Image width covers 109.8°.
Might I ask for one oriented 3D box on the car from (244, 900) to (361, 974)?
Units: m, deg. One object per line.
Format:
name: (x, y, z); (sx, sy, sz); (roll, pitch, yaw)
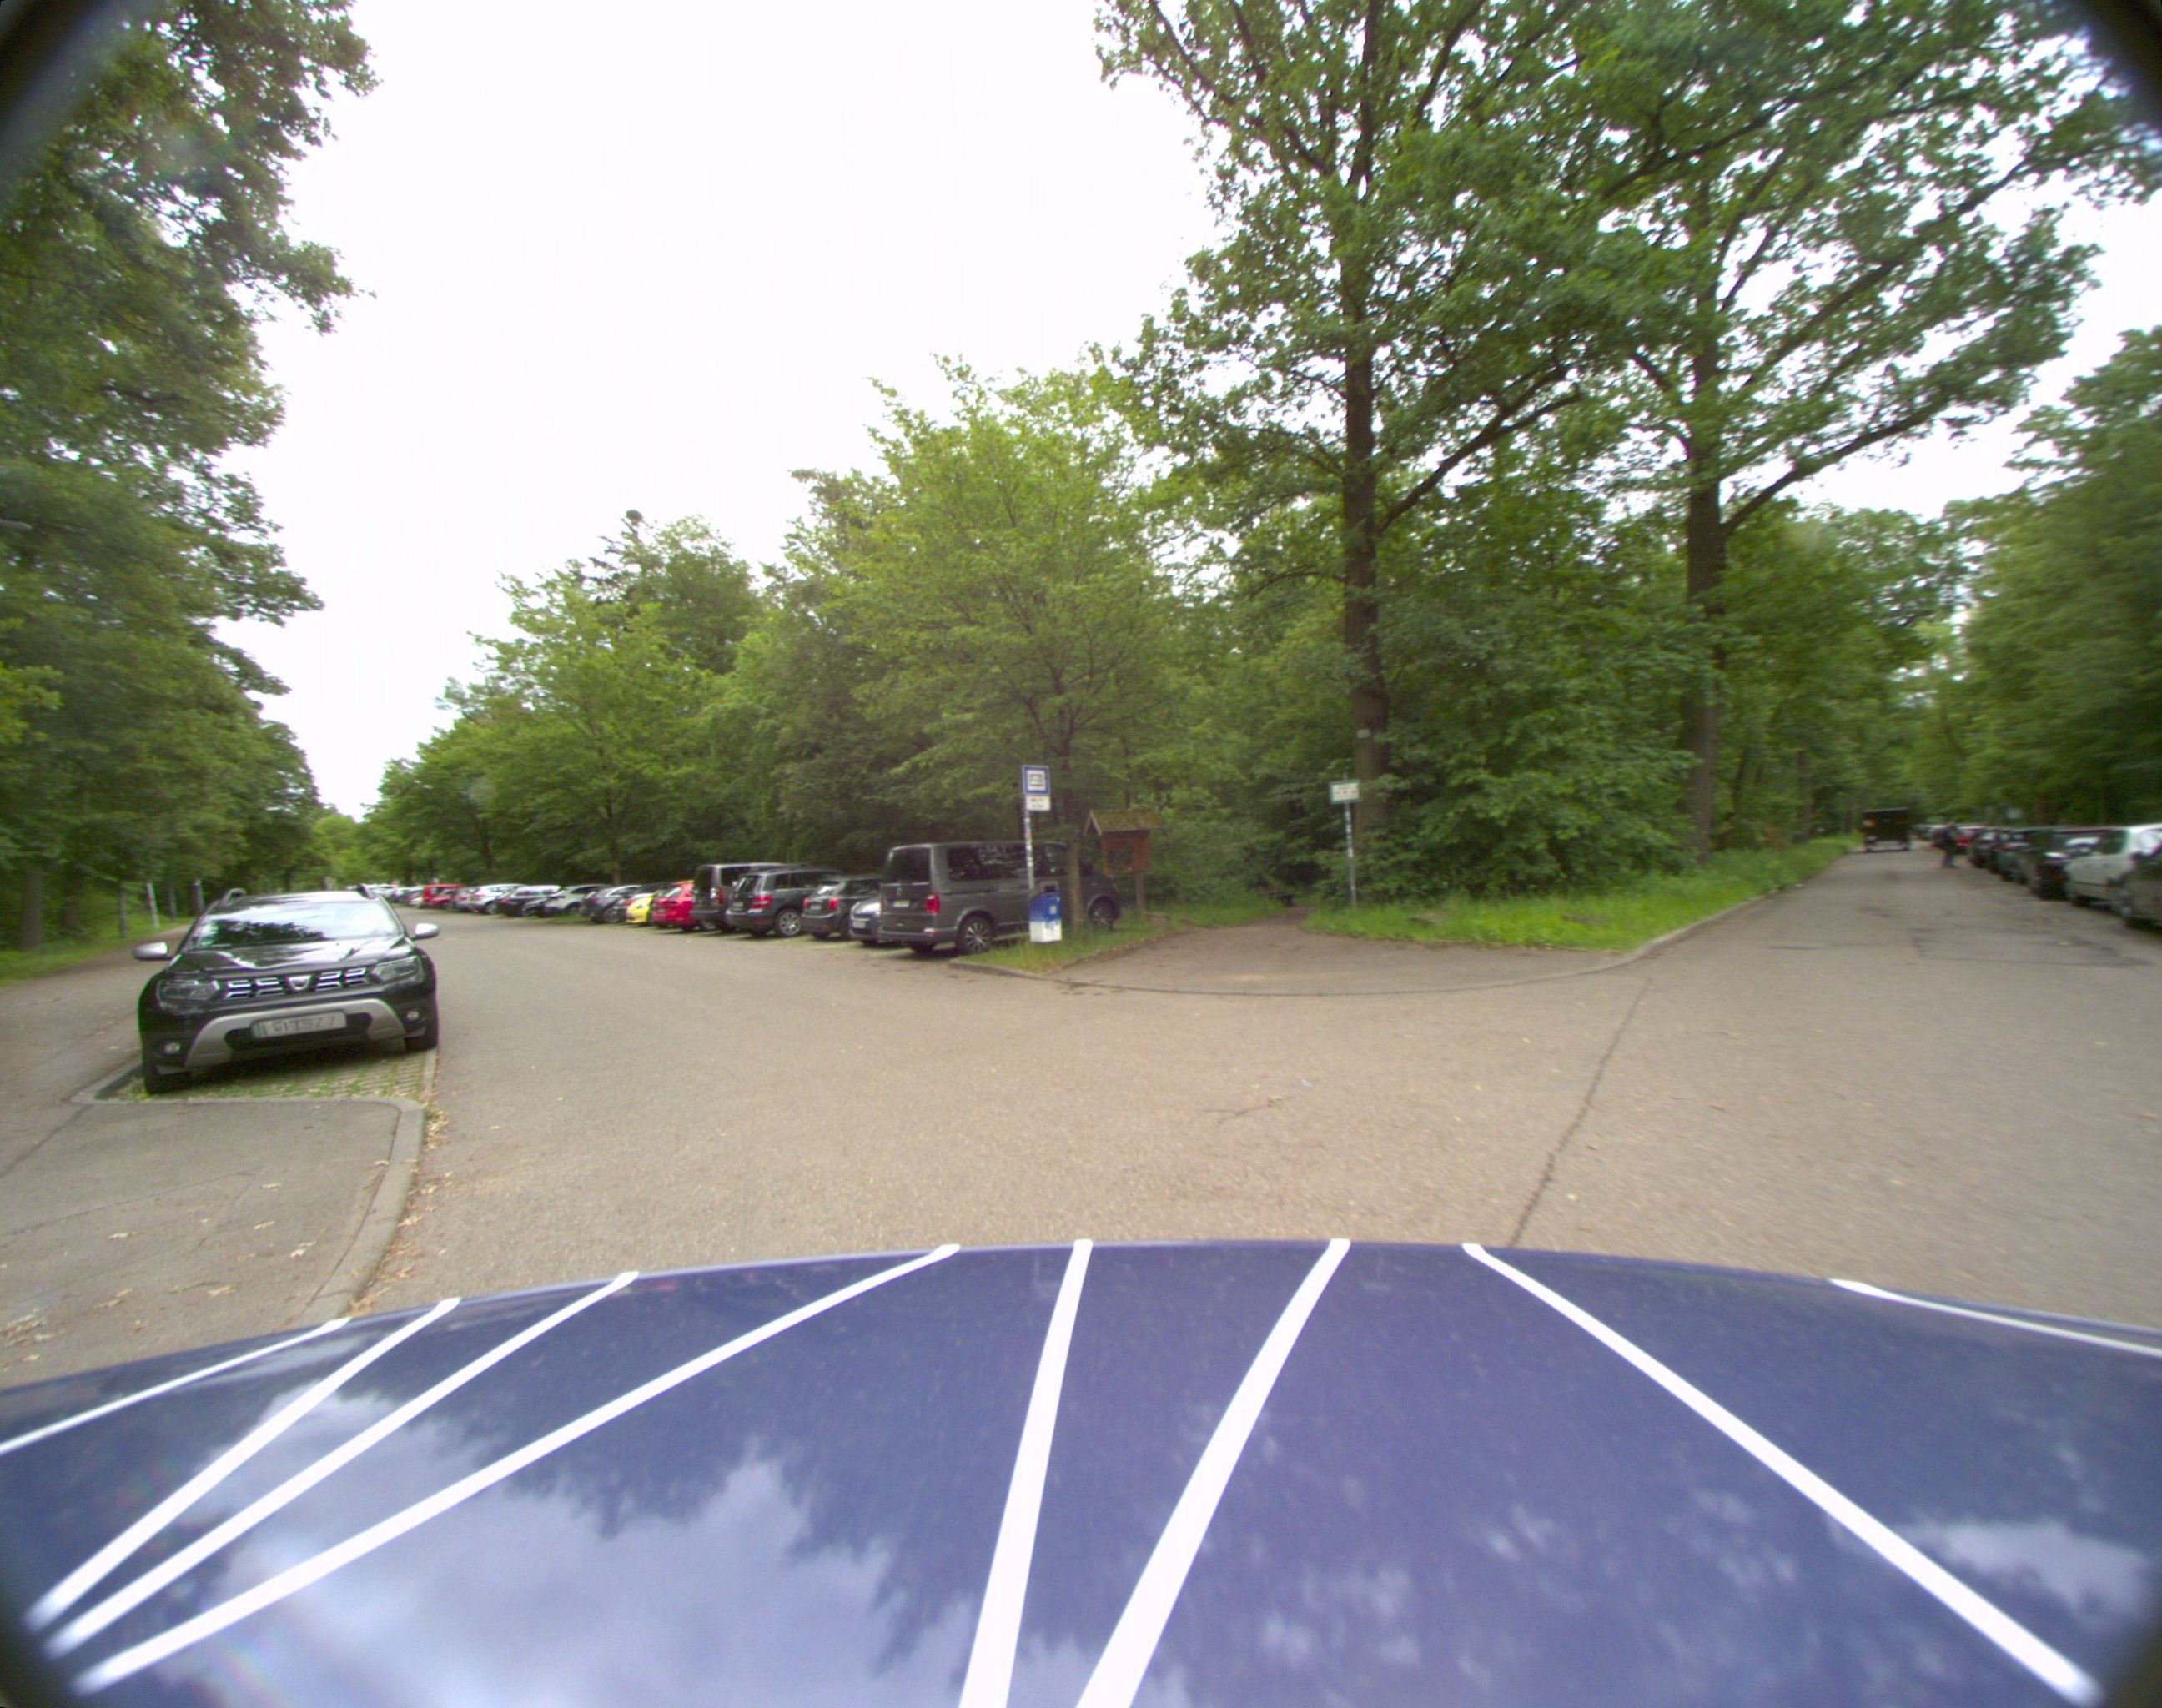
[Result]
car: (-18.832, 1.891, 18.335); (4.490, 1.423, 1.745); (-3, 1, 43)

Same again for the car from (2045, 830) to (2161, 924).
car: (17.402, 0.288, 12.225); (1.687, 1.350, 4.229); (-5, -3, 43)

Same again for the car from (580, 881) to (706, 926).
car: (-17.454, 1.937, 30.418); (1.710, 1.430, 4.008); (-3, 0, 44)

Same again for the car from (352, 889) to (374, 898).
car: (-119.037, 6.515, 125.943); (1.776, 1.308, 3.880); (-4, 2, -31)

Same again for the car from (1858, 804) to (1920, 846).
car: (54.529, -1.987, 51.378); (2.575, 2.519, 4.944); (-4, -1, 45)

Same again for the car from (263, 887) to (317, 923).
car: (-41.175, 2.638, 39.525); (5.058, 1.634, 1.745); (-3, 1, 43)

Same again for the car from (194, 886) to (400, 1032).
car: (-11.512, 1.366, 11.161); (4.363, 1.624, 1.745); (-3, 1, 43)

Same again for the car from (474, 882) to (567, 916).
car: (-32.553, 2.562, 44.165); (1.809, 1.652, 4.008); (-3, 0, 43)

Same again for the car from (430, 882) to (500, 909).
car: (-48.368, 3.257, 59.667); (1.813, 1.804, 4.008); (-3, 0, 44)

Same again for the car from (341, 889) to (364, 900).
car: (-113.627, 6.328, 118.544); (1.776, 1.307, 3.884); (-4, -3, -31)

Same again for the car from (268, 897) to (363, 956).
car: (-22.592, 2.055, 22.374); (4.490, 1.423, 1.745); (-3, 1, 43)

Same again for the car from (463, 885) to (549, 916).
car: (-35.964, 2.878, 47.546); (1.809, 1.652, 4.008); (-3, 0, 45)

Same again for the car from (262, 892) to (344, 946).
car: (-26.742, 2.166, 26.077); (4.370, 1.580, 1.745); (-3, 1, 43)

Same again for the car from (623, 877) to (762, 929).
car: (-13.735, 1.703, 27.023); (1.613, 1.430, 4.007); (-3, 1, 44)

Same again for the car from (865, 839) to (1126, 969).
car: (-1.459, 0.796, 14.226); (4.526, 1.966, 1.886); (-3, -1, -43)

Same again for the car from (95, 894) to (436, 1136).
car: (-7.944, 1.287, 7.582); (3.988, 1.624, 1.819); (-3, 1, 44)

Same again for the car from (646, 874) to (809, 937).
car: (-10.620, 1.508, 23.049); (1.775, 1.467, 4.007); (-3, 1, 42)

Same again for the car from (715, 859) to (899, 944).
car: (-7.046, 1.152, 19.815); (1.819, 1.755, 4.007); (-3, 1, 43)

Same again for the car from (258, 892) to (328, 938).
car: (-31.040, 2.363, 29.885); (3.997, 1.559, 1.745); (-3, 1, 43)

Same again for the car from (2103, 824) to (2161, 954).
car: (13.338, 0.338, 8.455); (4.335, 1.485, 1.768); (-1, -3, -43)

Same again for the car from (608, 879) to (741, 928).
car: (-15.298, 1.816, 28.733); (1.729, 1.430, 4.007); (-3, 1, 44)

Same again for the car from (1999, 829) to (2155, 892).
car: (24.076, 0.155, 18.519); (1.687, 1.350, 3.638); (-5, -3, 43)

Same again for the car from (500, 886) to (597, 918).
car: (-28.574, 2.551, 40.849); (4.007, 1.427, 1.644); (-3, 0, -44)

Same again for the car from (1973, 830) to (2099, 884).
car: (27.117, 0.074, 21.697); (1.687, 1.350, 3.638); (-5, -3, 43)

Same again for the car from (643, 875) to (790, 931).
car: (-12.061, 1.590, 25.332); (1.667, 1.430, 4.007); (-3, 1, 42)

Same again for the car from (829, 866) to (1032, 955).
car: (-3.144, 1.128, 16.320); (3.834, 1.503, 1.804); (-3, -1, -43)

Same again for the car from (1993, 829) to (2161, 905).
car: (20.557, 0.254, 15.685); (1.687, 1.350, 3.876); (-5, -3, 43)

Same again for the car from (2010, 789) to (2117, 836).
car: (37.653, -1.584, 29.218); (1.953, 1.609, 3.646); (-2, 1, 43)

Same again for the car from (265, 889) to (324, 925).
car: (-37.077, 2.484, 35.796); (4.593, 1.465, 1.745); (-3, 1, 43)

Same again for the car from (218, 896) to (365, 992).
car: (-15.554, 1.651, 14.966); (4.222, 1.486, 1.745); (-3, 1, 43)

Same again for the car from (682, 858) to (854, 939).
car: (-8.772, 1.183, 21.527); (1.808, 1.851, 4.007); (-3, 1, 44)

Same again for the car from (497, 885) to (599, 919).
car: (-27.241, 2.412, 38.878); (4.007, 1.427, 1.673); (-3, 0, -44)

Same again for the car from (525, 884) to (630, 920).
car: (-24.599, 2.327, 37.193); (4.007, 1.427, 1.673); (-3, 0, -44)

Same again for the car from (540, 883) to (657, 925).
car: (-21.252, 2.176, 33.558); (1.710, 1.459, 4.007); (-3, 1, 44)

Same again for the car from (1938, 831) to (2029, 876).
car: (31.003, -0.018, 26.200); (1.567, 1.350, 3.527); (-5, -3, 43)

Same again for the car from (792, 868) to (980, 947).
car: (-4.608, 1.212, 18.356); (4.007, 1.422, 1.716); (-4, 1, -45)

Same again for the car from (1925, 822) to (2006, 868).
car: (34.633, -0.374, 29.836); (1.617, 1.582, 3.526); (-5, -1, 43)
